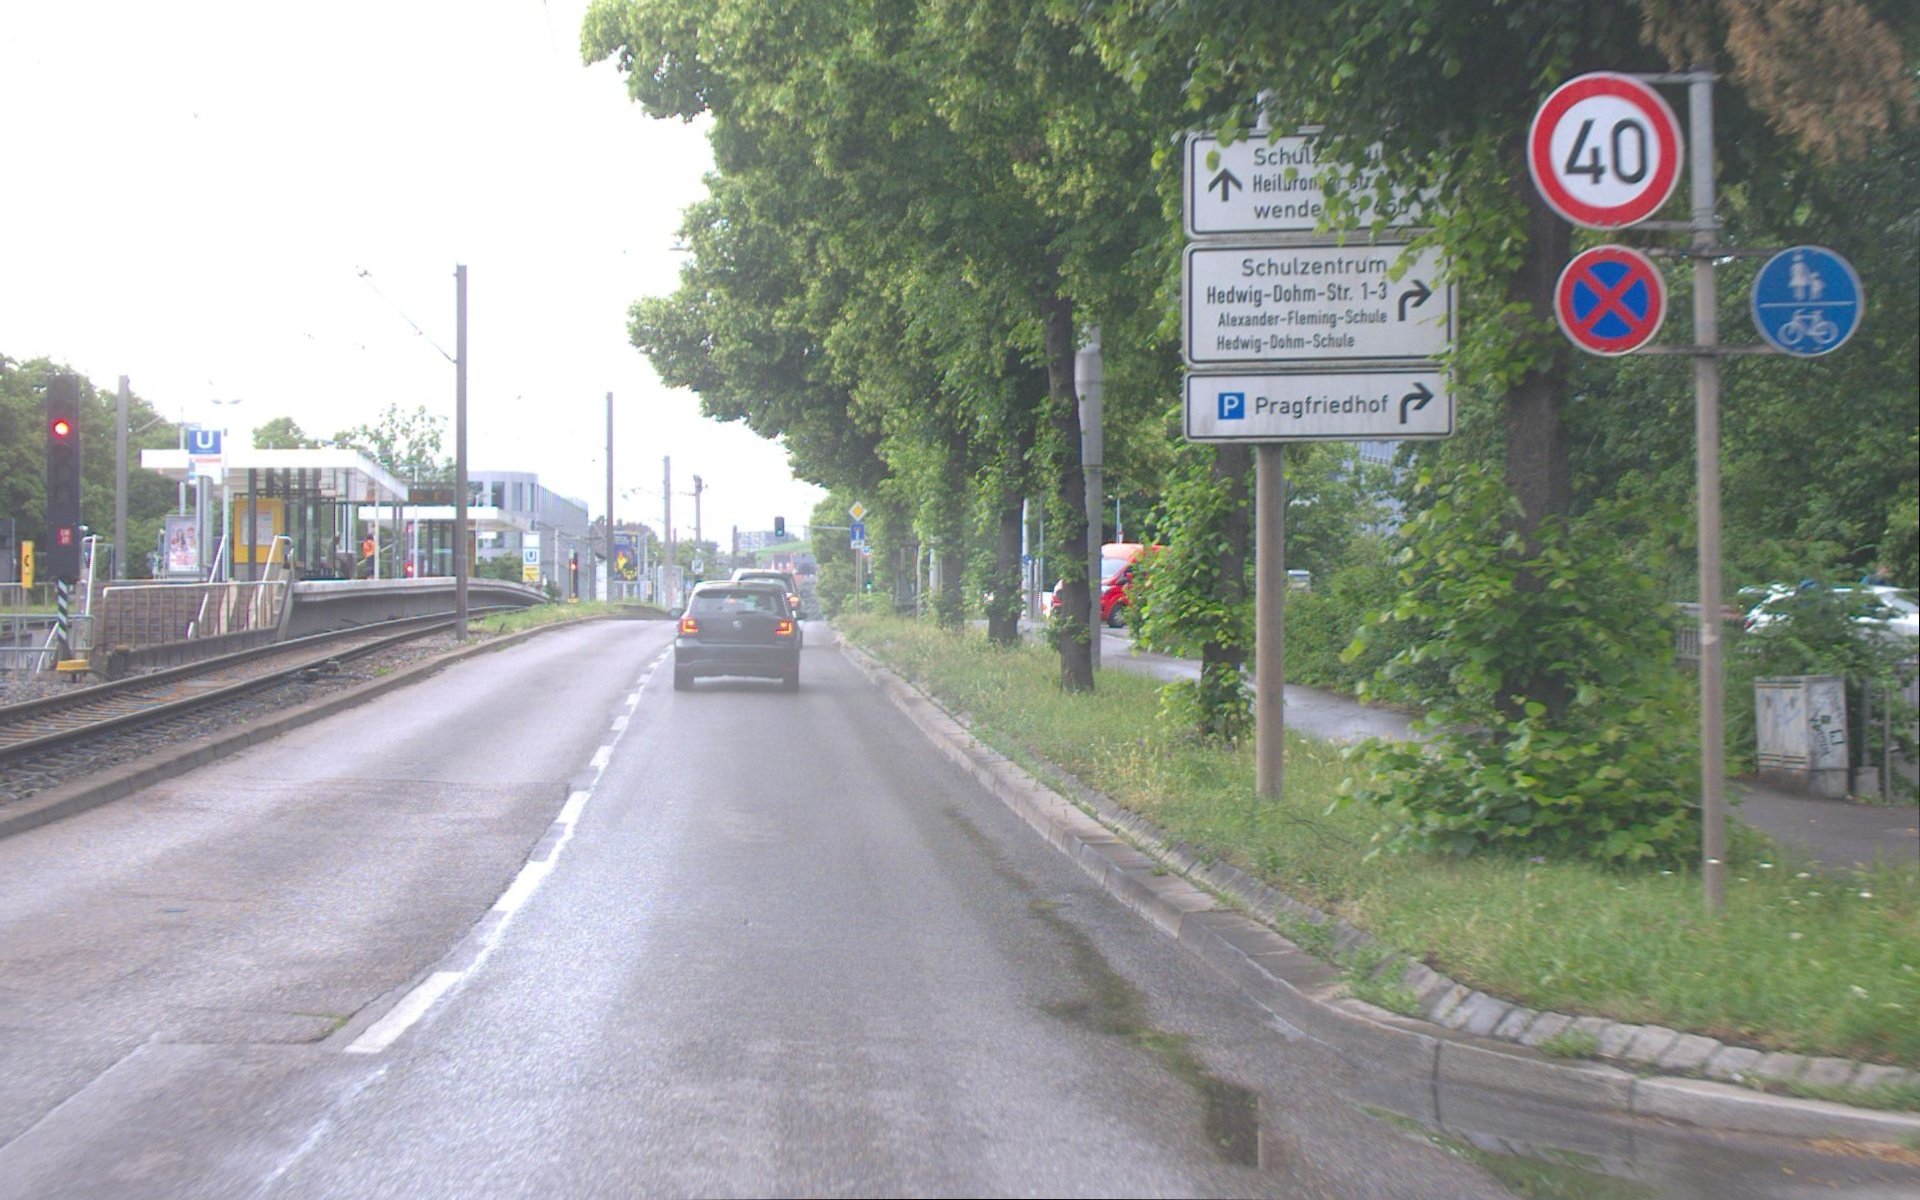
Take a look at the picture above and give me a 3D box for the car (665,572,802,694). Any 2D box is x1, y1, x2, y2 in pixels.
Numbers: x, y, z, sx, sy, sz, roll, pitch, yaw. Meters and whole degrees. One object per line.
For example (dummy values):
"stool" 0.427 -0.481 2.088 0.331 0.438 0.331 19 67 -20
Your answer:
"car" -3.016 0.408 46.336 1.726 1.535 4.001 0 1 -2

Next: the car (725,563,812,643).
"car" -3.832 0.040 69.095 1.687 1.512 4.001 0 1 -3

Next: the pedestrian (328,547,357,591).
"pedestrian" -17.091 -0.856 95.140 0.710 1.221 0.619 1 0 -2

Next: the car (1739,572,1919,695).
"car" 15.333 0.576 56.638 1.940 1.828 4.466 2 1 -43

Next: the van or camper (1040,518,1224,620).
"van or camper" 4.744 -0.827 94.117 2.040 2.398 5.378 5 1 40

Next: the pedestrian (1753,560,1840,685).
"pedestrian" 13.645 0.360 56.084 0.960 2.007 0.951 1 1 -26
